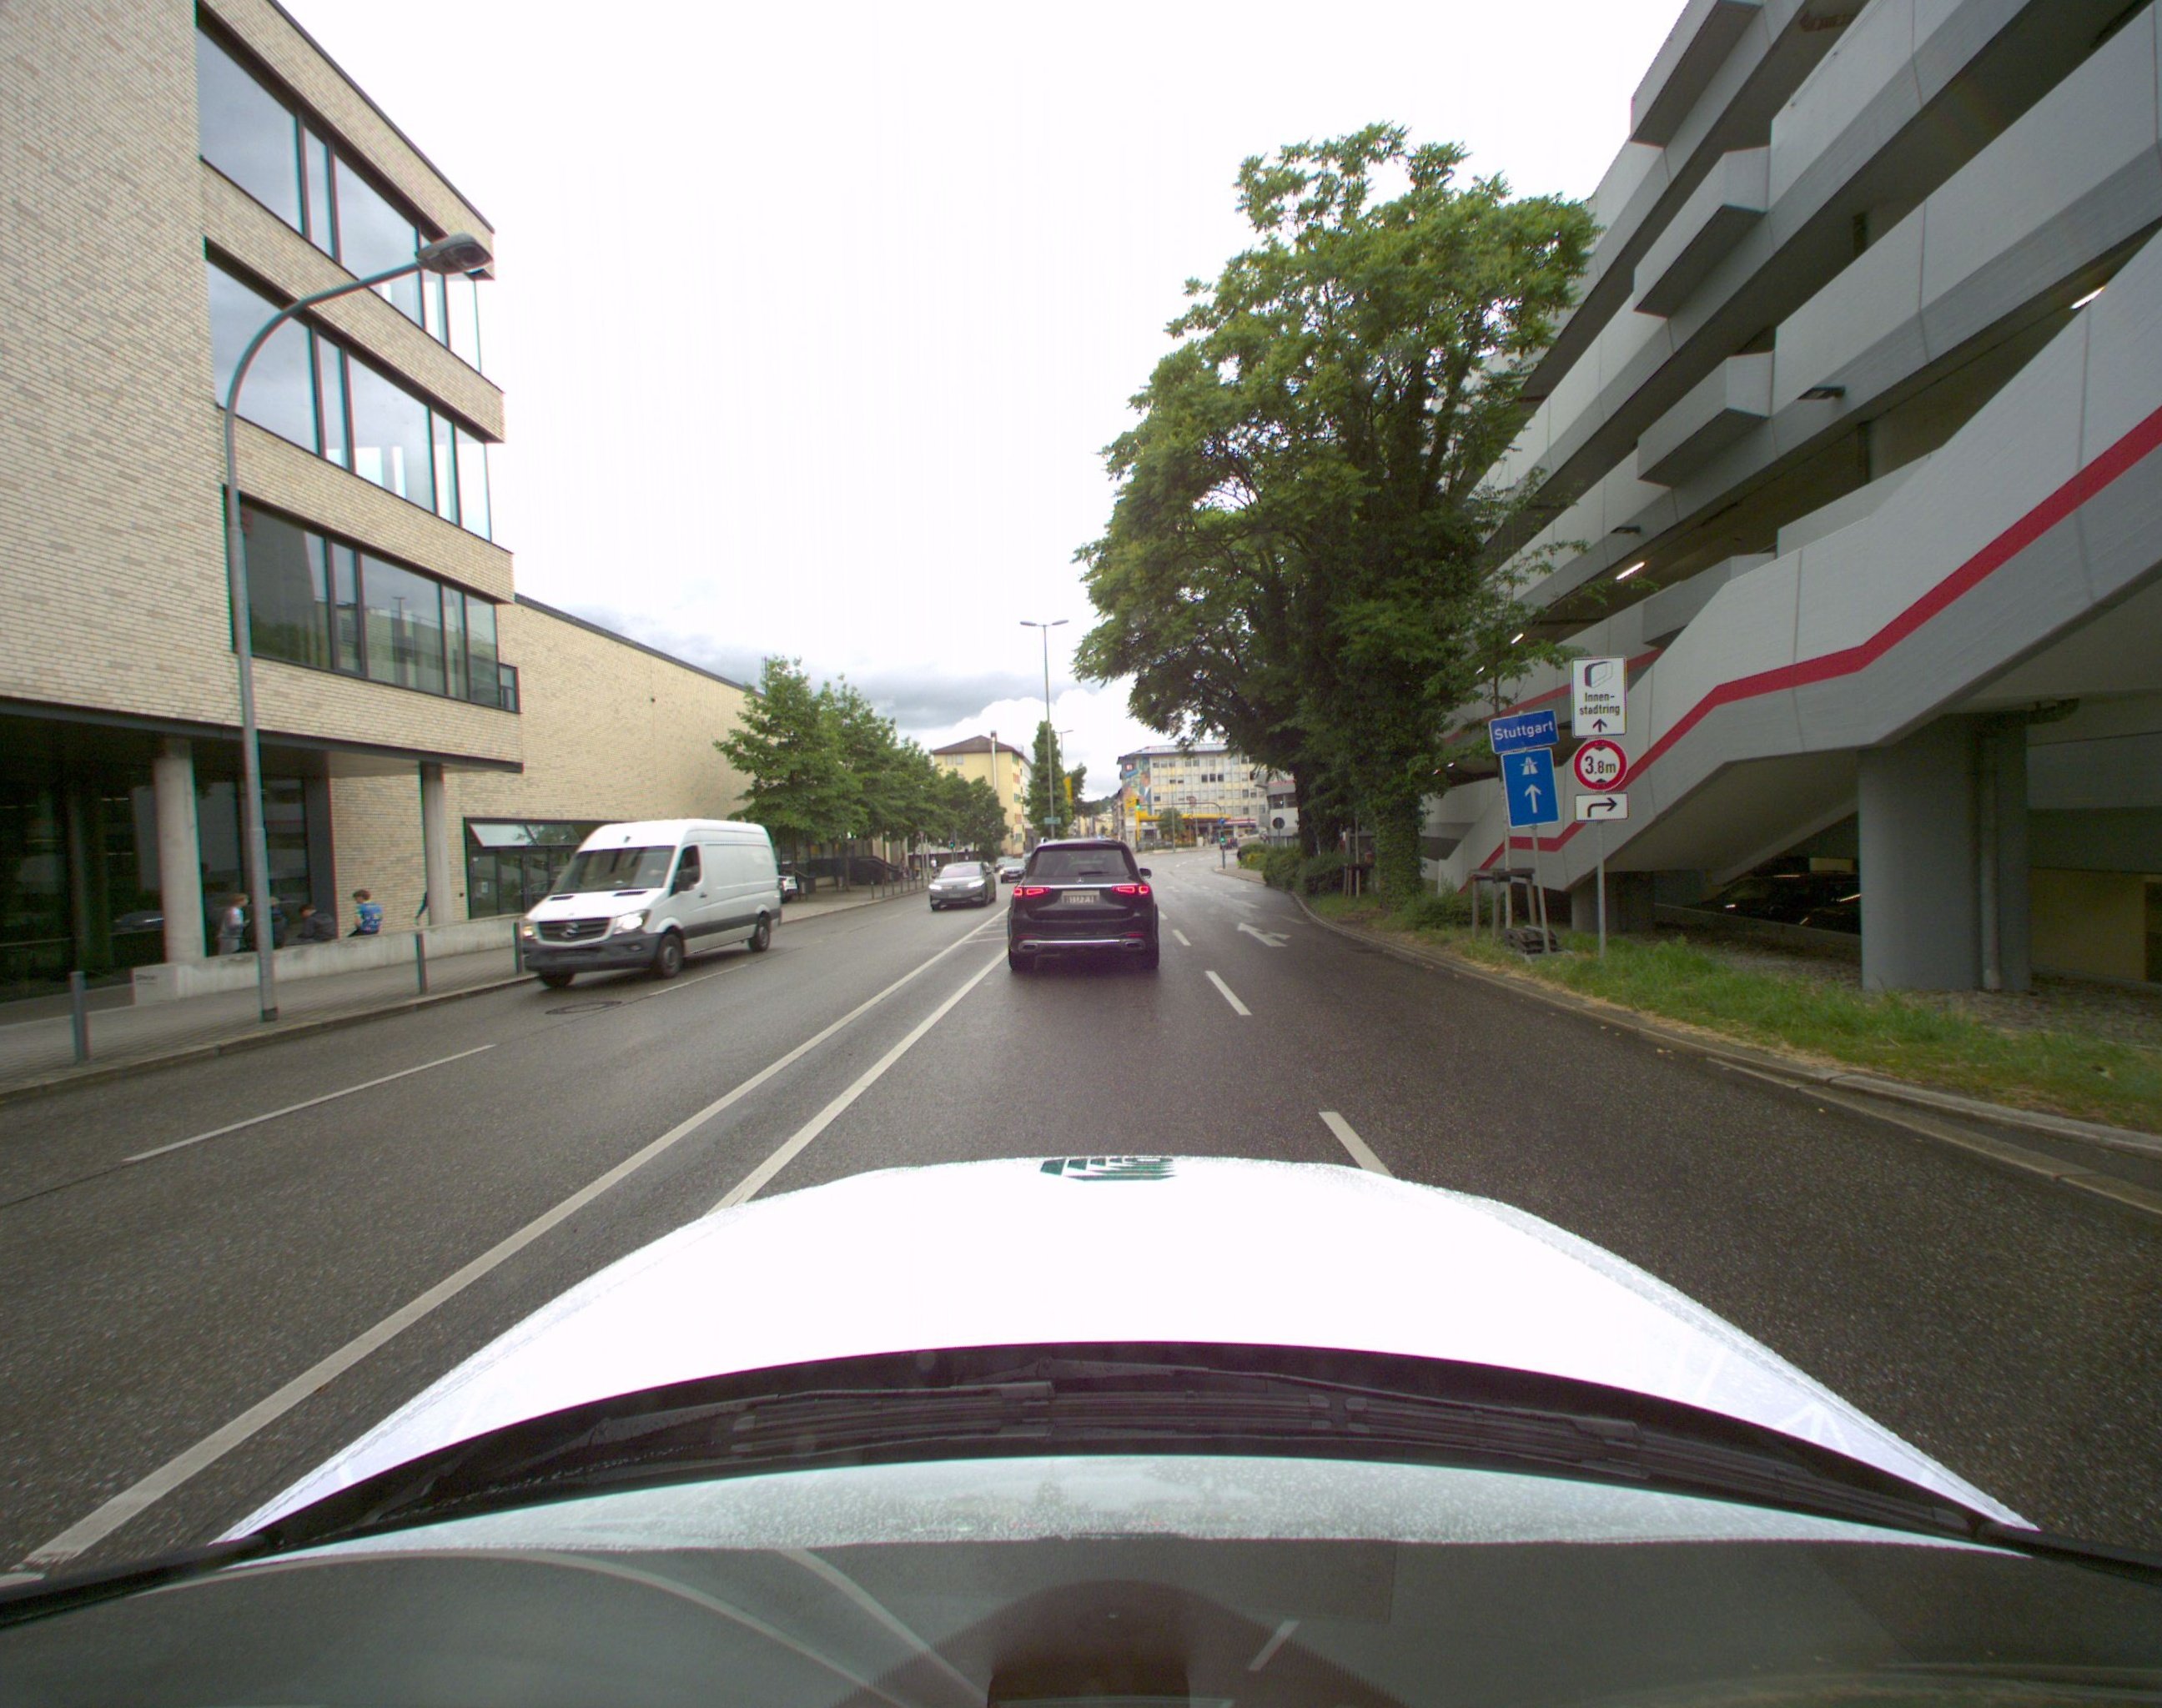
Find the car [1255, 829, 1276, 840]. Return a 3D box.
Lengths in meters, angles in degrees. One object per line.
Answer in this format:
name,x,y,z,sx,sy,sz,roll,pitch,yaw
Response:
car,31.262,-3.305,137.885,1.974,1.706,4.026,-3,1,35

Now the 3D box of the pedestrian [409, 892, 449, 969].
pedestrian,-15.069,1.742,18.831,0.639,1.714,0.697,0,-1,-33

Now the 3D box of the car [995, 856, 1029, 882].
car,-4.431,0.965,52.810,1.806,1.462,4.286,-4,-1,-1

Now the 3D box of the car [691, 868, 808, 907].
car,-14.115,1.413,34.858,4.158,1.547,2.002,0,-1,3

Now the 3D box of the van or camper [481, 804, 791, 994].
van or camper,-7.414,0.657,14.592,2.095,2.582,5.908,-4,0,1

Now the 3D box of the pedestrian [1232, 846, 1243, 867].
pedestrian,12.512,0.189,65.108,0.639,1.710,0.474,-2,-2,38

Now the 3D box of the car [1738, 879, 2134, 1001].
car,12.946,1.279,12.589,3.966,1.624,1.842,-1,0,6

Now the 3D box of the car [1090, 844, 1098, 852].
car,3.303,-1.587,207.421,1.985,2.014,4.002,0,-1,3

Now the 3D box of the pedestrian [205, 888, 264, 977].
pedestrian,-14.442,1.323,13.904,0.440,1.475,0.528,0,-1,-3

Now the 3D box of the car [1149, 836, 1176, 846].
car,12.815,-2.031,128.369,1.747,1.376,3.952,-3,1,-42

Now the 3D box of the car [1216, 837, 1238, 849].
car,19.632,-1.464,109.432,1.780,1.525,4.080,0,1,26

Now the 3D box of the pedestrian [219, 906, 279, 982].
pedestrian,-13.627,1.466,13.348,0.546,1.215,0.422,0,-1,4

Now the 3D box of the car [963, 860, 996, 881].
car,-7.579,1.225,60.973,1.823,1.388,4.229,-4,0,0

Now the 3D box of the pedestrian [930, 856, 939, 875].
pedestrian,-13.011,1.051,72.463,0.688,1.656,0.612,-3,0,-6

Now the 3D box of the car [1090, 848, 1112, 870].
car,1.836,0.482,75.148,1.986,2.014,4.001,0,-1,1

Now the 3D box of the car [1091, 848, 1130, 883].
car,1.596,0.605,43.650,1.986,1.800,4.001,0,-1,2

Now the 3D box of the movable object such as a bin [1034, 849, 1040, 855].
movable object such as a bin,-7.679,-0.385,141.251,0.906,1.038,0.844,0,-1,2

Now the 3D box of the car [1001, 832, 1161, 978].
car,0.067,0.660,12.164,1.986,1.800,4.001,0,-1,2

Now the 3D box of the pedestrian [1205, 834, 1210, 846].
pedestrian,18.613,-2.065,119.916,0.570,1.697,0.631,0,-1,3

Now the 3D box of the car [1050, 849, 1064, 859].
car,-3.854,0.001,131.696,1.882,1.586,4.536,-4,0,0

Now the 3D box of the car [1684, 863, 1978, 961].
car,13.910,1.055,15.326,3.713,1.540,1.815,-1,3,7

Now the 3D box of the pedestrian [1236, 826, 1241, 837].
pedestrian,26.392,-3.794,136.290,0.521,1.727,0.693,-2,0,28

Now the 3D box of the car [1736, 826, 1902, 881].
car,26.214,-0.021,29.073,3.958,1.783,1.823,-2,0,14

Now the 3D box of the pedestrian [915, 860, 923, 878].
pedestrian,-14.398,1.304,72.401,0.435,1.534,0.548,-3,0,16

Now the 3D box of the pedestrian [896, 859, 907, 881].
pedestrian,-13.789,1.214,62.611,0.641,1.666,1.017,0,-1,-4

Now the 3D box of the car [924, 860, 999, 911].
car,-4.070,1.035,28.465,1.877,1.498,4.560,-4,0,-1

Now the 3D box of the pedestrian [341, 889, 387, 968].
pedestrian,-13.650,1.407,15.504,0.448,1.475,0.463,0,-1,-4

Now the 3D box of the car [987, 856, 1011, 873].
car,-7.802,0.995,77.780,1.740,1.412,3.970,-4,0,0

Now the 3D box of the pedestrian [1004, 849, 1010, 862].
pedestrian,-10.339,0.183,114.171,0.647,1.727,0.628,-3,0,-2

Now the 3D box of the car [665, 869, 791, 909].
car,-14.019,1.385,32.551,4.169,1.495,1.996,0,-1,-5

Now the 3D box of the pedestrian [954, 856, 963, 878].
pedestrian,-10.236,1.067,67.927,0.687,1.757,0.716,-2,0,-9

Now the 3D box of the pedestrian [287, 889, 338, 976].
pedestrian,-13.523,1.367,14.336,0.448,1.475,0.463,0,-1,-4

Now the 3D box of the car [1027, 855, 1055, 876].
car,-3.737,1.049,76.399,1.882,1.811,4.581,-4,0,5
